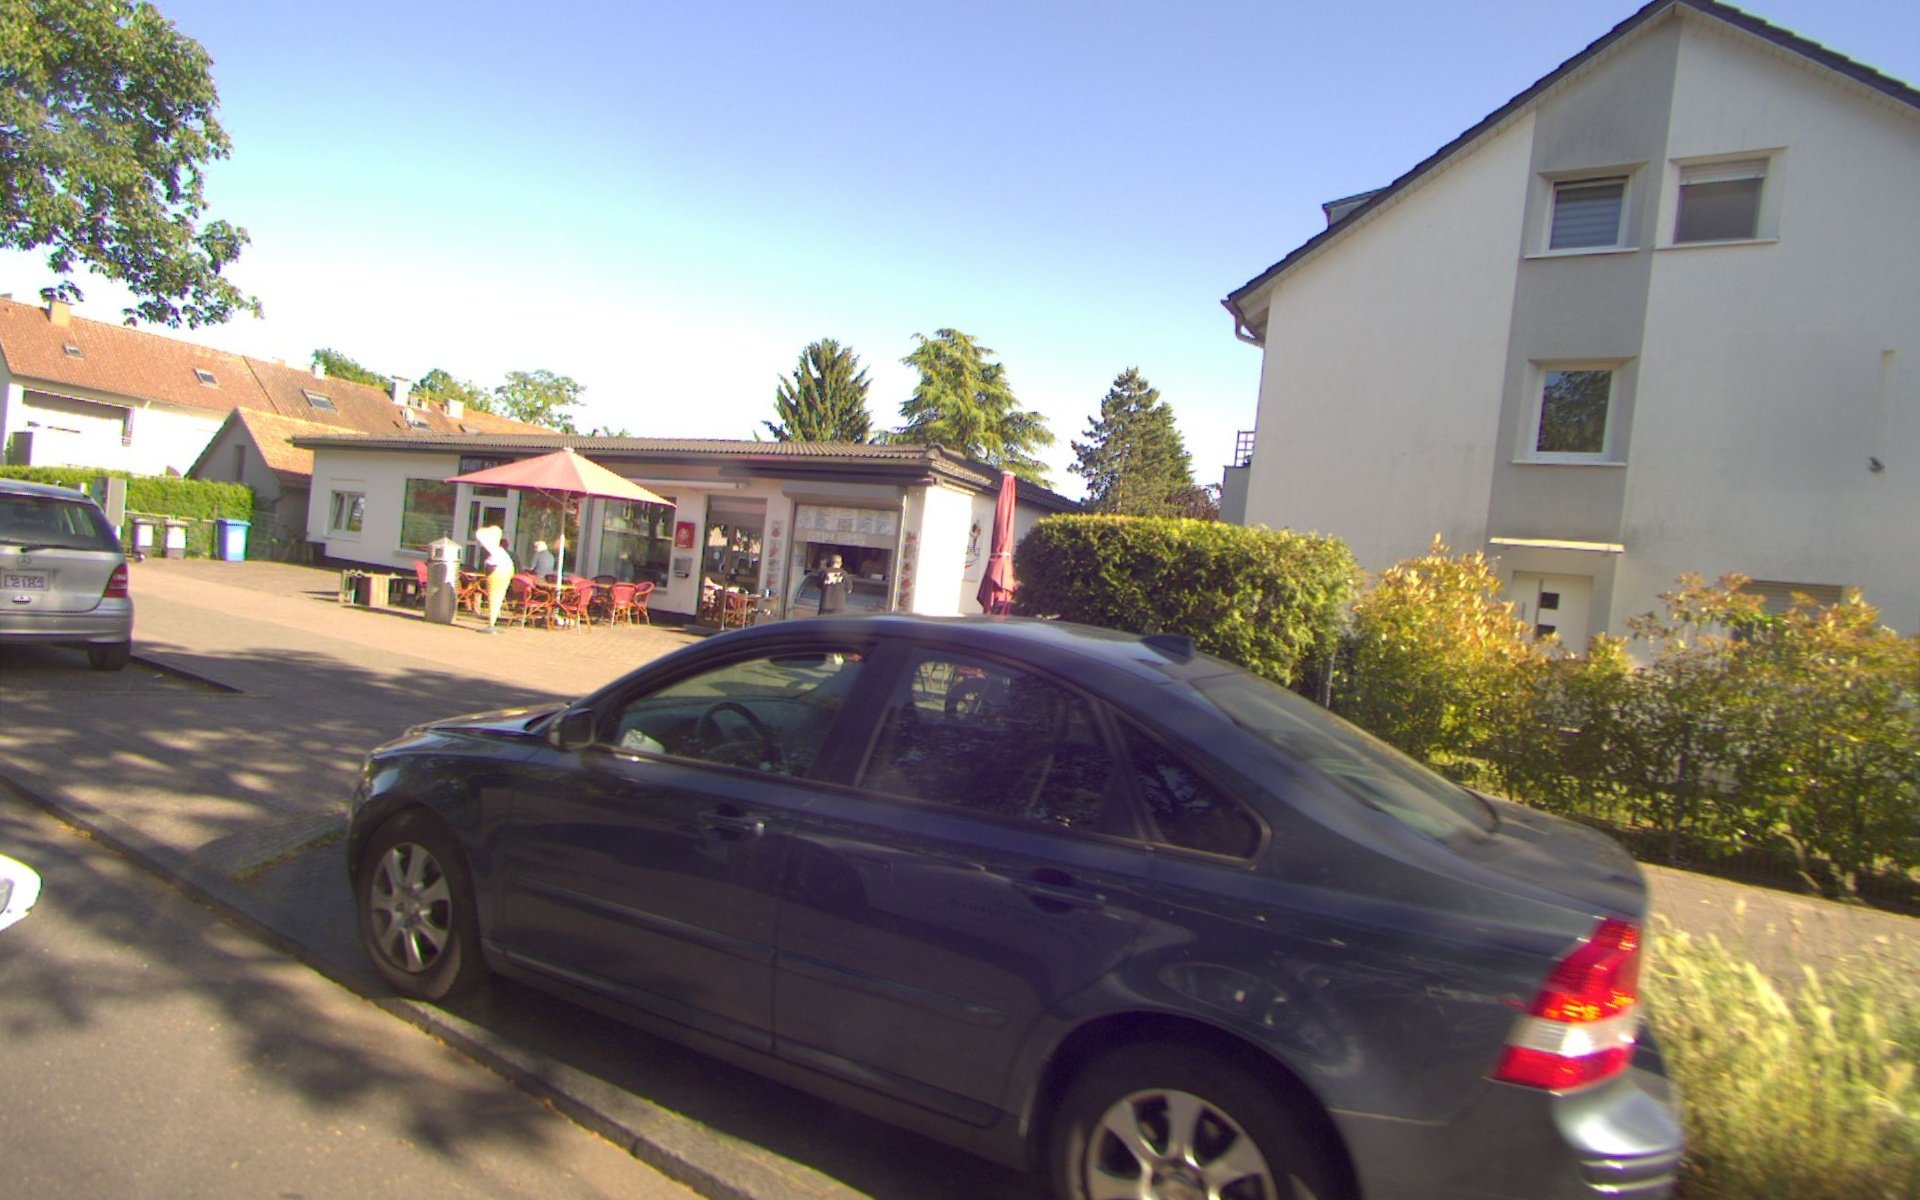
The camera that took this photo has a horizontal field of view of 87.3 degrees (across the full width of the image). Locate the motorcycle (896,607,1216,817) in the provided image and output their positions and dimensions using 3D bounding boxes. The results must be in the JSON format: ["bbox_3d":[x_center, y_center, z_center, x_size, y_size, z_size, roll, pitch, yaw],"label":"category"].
[{"bbox_3d":[0.723,0.811,8.037,2.312,1.243,0.818,7,2,31],"label":"motorcycle"}]

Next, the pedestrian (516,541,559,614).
[{"bbox_3d":[-8.621,-0.458,20.516,0.656,1.427,0.489,4,2,-30],"label":"pedestrian"}]

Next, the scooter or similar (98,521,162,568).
[{"bbox_3d":[-18.467,-1.240,22.384,1.385,0.868,0.369,7,1,18],"label":"scooter or similar"}]

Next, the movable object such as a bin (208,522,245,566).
[{"bbox_3d":[-18.821,-1.436,25.811,0.734,1.046,0.493,6,3,31],"label":"movable object such as a bin"}]

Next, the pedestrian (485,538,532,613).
[{"bbox_3d":[-8.866,-0.481,19.758,0.629,1.401,0.439,6,-1,37],"label":"pedestrian"}]

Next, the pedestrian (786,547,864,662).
[{"bbox_3d":[-2.262,0.086,16.960,0.824,1.800,0.824,7,1,20],"label":"pedestrian"}]

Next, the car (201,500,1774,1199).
[{"bbox_3d":[-0.227,0.789,3.533,4.304,1.640,2.001,7,-3,26],"label":"car"}]

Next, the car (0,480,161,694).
[{"bbox_3d":[-9.297,-0.289,9.219,4.310,1.640,1.614,6,-3,32],"label":"car"}]
